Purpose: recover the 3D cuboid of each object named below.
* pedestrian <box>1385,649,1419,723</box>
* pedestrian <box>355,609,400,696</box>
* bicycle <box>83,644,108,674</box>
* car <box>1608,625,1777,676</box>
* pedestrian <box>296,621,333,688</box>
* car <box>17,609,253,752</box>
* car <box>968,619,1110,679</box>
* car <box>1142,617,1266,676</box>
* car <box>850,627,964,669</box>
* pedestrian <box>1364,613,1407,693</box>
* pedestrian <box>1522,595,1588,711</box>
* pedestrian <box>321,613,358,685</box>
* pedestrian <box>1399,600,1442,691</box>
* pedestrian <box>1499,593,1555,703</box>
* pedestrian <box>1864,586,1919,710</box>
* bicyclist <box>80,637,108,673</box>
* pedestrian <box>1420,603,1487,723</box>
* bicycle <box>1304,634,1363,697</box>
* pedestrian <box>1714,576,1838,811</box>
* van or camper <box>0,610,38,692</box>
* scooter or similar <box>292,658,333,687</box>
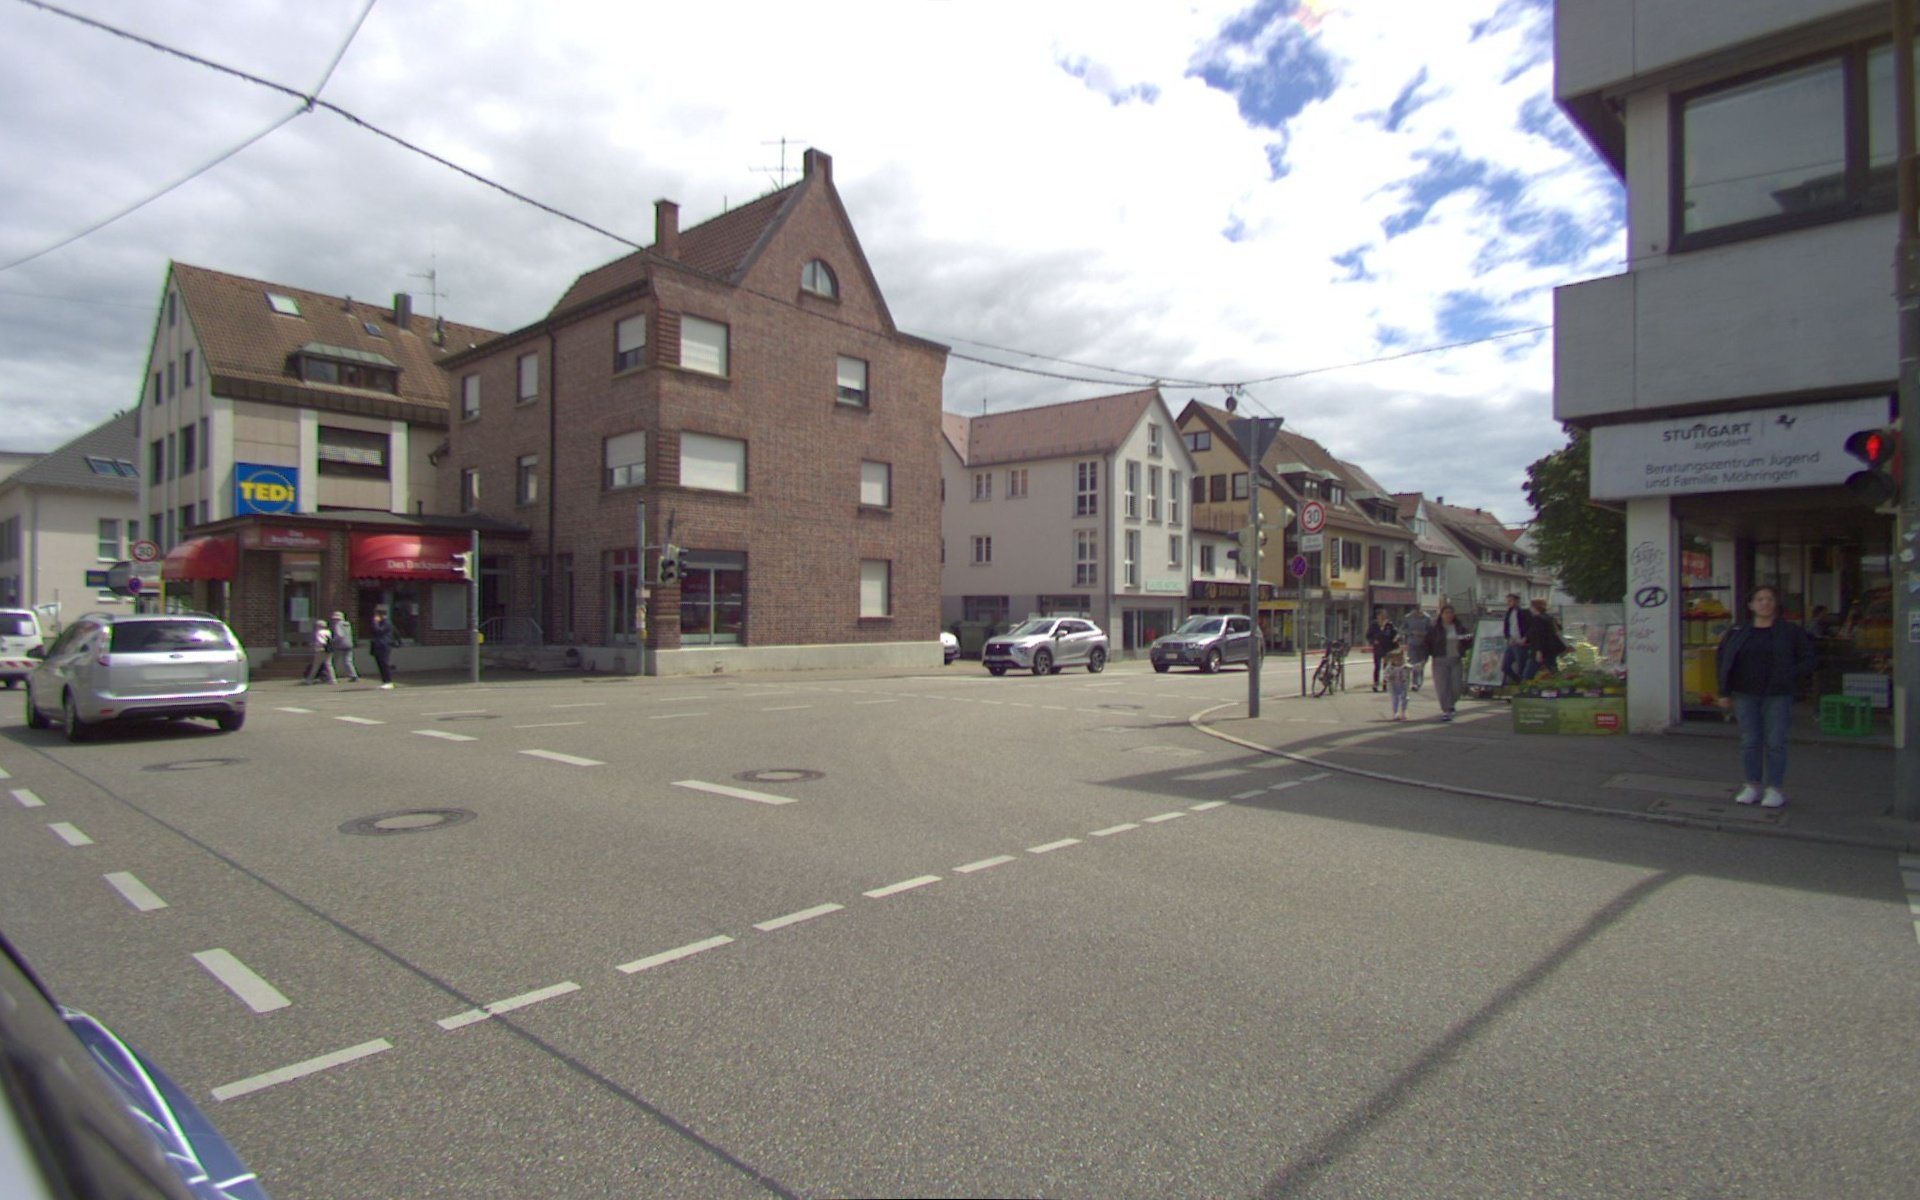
[{"bbox_3d":[6.251,1.206,14.332,0.382,1.012,0.361,0,0,15],"label":"pedestrian"},{"bbox_3d":[-12.546,1.107,21.803,0.719,1.810,0.619,0,0,38],"label":"pedestrian"},{"bbox_3d":[-33.949,2.306,39.743,1.733,1.058,0.439,0,3,40],"label":"bicycle"},{"bbox_3d":[21.663,1.461,30.030,1.756,1.396,3.731,1,-2,-40],"label":"car"},{"bbox_3d":[-14.958,1.245,23.452,0.760,1.496,0.519,0,0,38],"label":"pedestrian"},{"bbox_3d":[-10.752,0.946,13.088,4.212,1.565,1.651,-2,-2,41],"label":"car"},{"bbox_3d":[2.317,1.369,28.861,1.920,1.586,4.270,-2,-3,41],"label":"car"},{"bbox_3d":[7.156,1.325,29.423,1.920,1.586,3.945,-2,-3,41],"label":"car"},{"bbox_3d":[-1.913,1.667,35.939,3.998,1.427,1.726,-2,-2,42],"label":"car"},{"bbox_3d":[8.680,1.066,20.642,0.675,1.589,0.726,-2,-3,33],"label":"pedestrian"},{"bbox_3d":[9.200,0.803,15.663,0.772,1.752,0.387,0,0,12],"label":"pedestrian"},{"bbox_3d":[-14.687,1.140,23.940,0.760,1.671,0.519,0,0,38],"label":"pedestrian"},{"bbox_3d":[9.600,0.937,21.099,0.675,1.850,0.726,-2,-3,33],"label":"pedestrian"},{"bbox_3d":[9.403,0.780,16.796,0.611,1.789,0.557,0,0,-26],"label":"pedestrian"},{"bbox_3d":[14.455,0.735,15.543,0.675,1.850,0.726,-2,-3,33],"label":"pedestrian"},{"bbox_3d":[-34.056,2.144,39.791,0.761,1.347,0.660,0,2,40],"label":"bicyclist"},{"bbox_3d":[6.879,0.855,14.140,0.690,1.609,0.721,0,0,14],"label":"pedestrian"},{"bbox_3d":[7.268,1.256,19.651,0.773,1.150,1.868,-1,-3,30],"label":"bicycle"},{"bbox_3d":[6.116,0.669,7.587,0.660,1.654,0.612,-2,-3,42],"label":"pedestrian"},{"bbox_3d":[-24.355,1.270,24.955,4.689,1.912,1.845,-3,-2,41],"label":"van or camper"},{"bbox_3d":[-15.331,1.714,23.959,0.803,0.651,0.377,0,-3,18],"label":"scooter or similar"}]
